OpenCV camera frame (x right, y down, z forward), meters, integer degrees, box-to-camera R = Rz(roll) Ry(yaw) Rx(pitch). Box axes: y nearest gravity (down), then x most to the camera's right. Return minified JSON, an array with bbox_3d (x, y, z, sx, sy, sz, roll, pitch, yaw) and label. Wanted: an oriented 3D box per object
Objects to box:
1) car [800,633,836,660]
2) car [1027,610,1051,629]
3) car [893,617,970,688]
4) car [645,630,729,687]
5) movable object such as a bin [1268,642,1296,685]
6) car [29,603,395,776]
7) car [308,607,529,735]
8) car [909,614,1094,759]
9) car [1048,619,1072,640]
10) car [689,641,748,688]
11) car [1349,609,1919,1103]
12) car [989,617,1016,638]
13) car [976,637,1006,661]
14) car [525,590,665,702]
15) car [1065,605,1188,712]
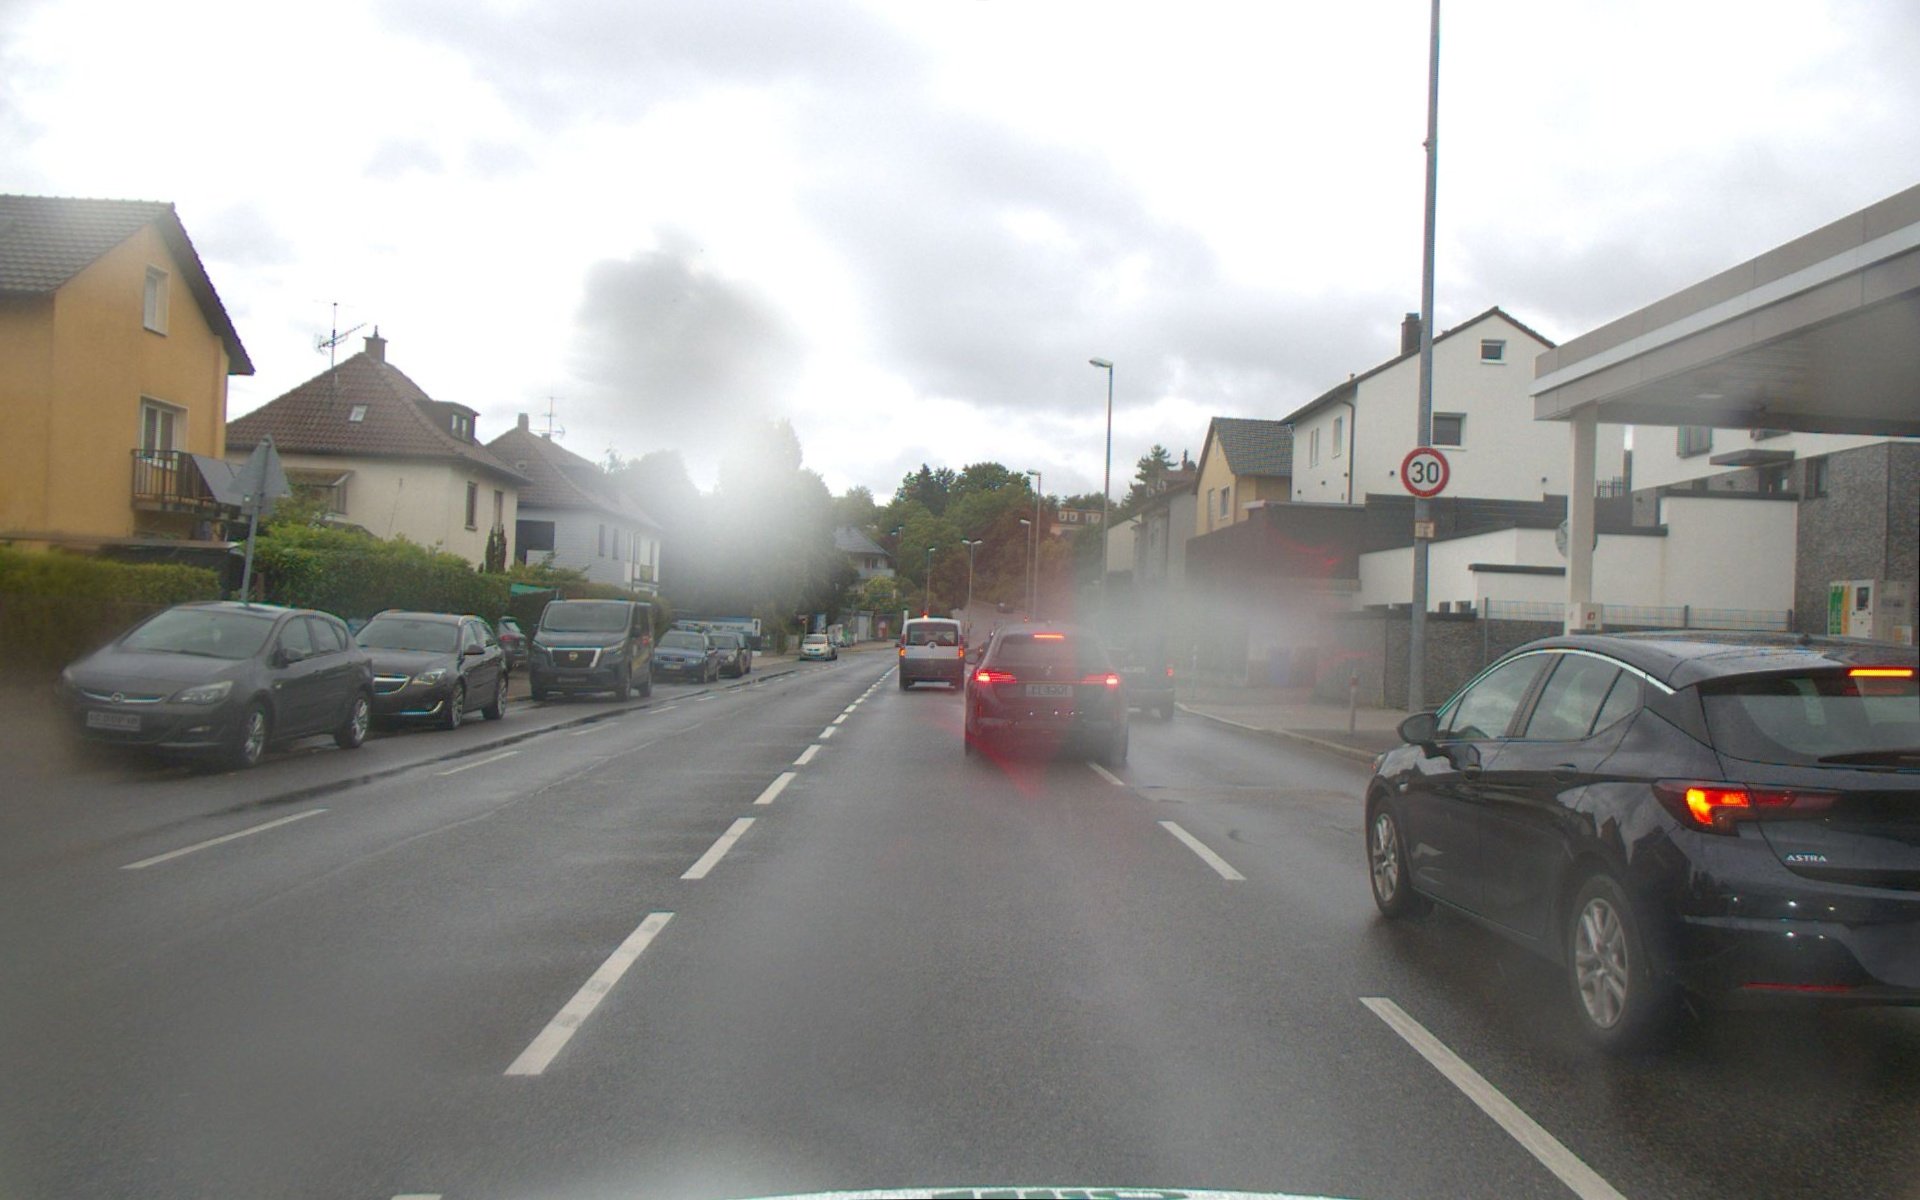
[{"bbox_3d":[-8.686,2.844,101.155,1.846,1.613,3.999,1,-2,-1],"label":"car"},{"bbox_3d":[10.713,2.611,224.714,2.473,2.048,5.605,3,3,-5],"label":"car"},{"bbox_3d":[-0.747,1.398,44.473,1.953,1.768,3.999,1,-2,0],"label":"car"},{"bbox_3d":[-7.927,1.692,48.356,1.721,1.559,4.285,1,-2,-1],"label":"car"},{"bbox_3d":[8.604,1.694,44.180,0.583,1.124,0.667,-1,-1,-1],"label":"movable object such as a bin"},{"bbox_3d":[-7.201,0.838,16.442,1.714,1.465,4.129,1,-2,0],"label":"car"},{"bbox_3d":[-7.285,0.941,22.737,1.715,1.543,4.524,1,-2,-3],"label":"car"},{"bbox_3d":[0.461,0.985,19.736,1.953,1.510,3.999,1,-2,0],"label":"car"},{"bbox_3d":[11.415,3.340,189.743,2.469,2.048,5.609,2,1,1],"label":"car"},{"bbox_3d":[-7.918,2.094,54.533,1.520,1.456,4.011,1,-2,-3],"label":"car"},{"bbox_3d":[3.071,0.813,7.014,1.721,1.475,3.997,1,-1,-3],"label":"car"},{"bbox_3d":[4.769,3.113,186.739,2.472,2.048,5.604,2,1,-4],"label":"car"},{"bbox_3d":[2.227,3.541,119.669,1.953,1.606,3.998,0,0,-2],"label":"car"},{"bbox_3d":[-7.224,0.929,33.220,1.874,2.038,5.084,1,-2,-3],"label":"car"},{"bbox_3d":[3.001,1.067,30.499,1.801,1.798,3.999,1,-2,0],"label":"car"}]
